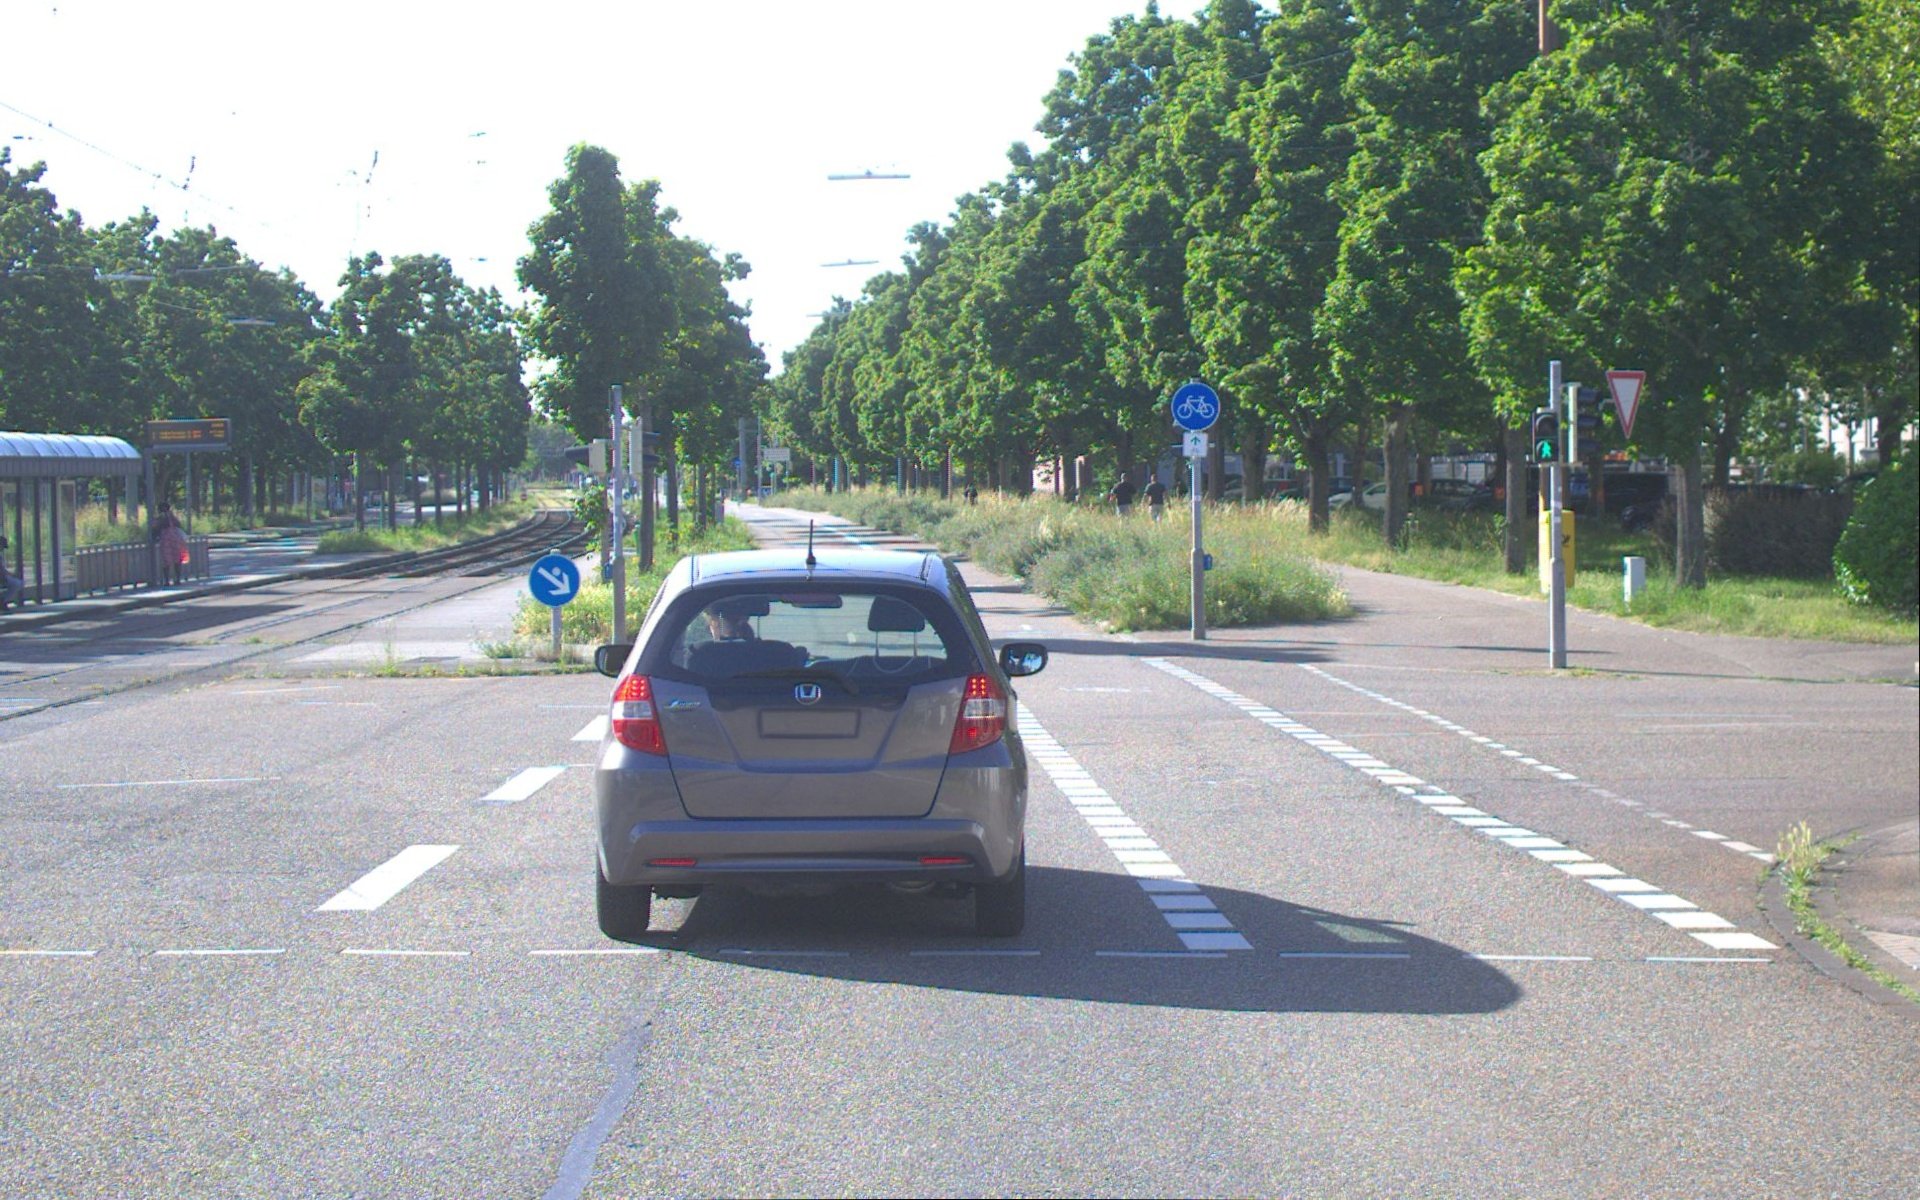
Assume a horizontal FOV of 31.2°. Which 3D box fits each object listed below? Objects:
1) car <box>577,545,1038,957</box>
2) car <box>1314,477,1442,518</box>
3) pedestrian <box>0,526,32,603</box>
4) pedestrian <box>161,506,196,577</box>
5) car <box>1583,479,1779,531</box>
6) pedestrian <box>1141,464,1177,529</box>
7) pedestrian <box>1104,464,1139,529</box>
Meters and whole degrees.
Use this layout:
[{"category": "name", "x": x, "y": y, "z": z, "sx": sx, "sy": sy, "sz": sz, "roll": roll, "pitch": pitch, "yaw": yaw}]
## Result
[{"category": "car", "x": -0.590, "y": 0.536, "z": 14.548, "sx": 1.701, "sy": 1.518, "sz": 3.710, "roll": 0, "pitch": 1, "yaw": -1}, {"category": "car", "x": 16.493, "y": -4.051, "z": 135.726, "sx": 4.630, "sy": 1.550, "sz": 2.001, "roll": -1, "pitch": 2, "yaw": -7}, {"category": "pedestrian", "x": -15.667, "y": -0.585, "z": 56.612, "sx": 0.563, "sy": 1.252, "sz": 0.581, "roll": -3, "pitch": 1, "yaw": -2}, {"category": "pedestrian", "x": -16.177, "y": -1.214, "z": 71.166, "sx": 0.544, "sy": 1.442, "sz": 0.559, "roll": -1, "pitch": 1, "yaw": -1}, {"category": "car", "x": 19.262, "y": -2.542, "z": 91.935, "sx": 4.679, "sy": 1.322, "sz": 2.088, "roll": 0, "pitch": 2, "yaw": 34}, {"category": "pedestrian", "x": 5.760, "y": -2.994, "z": 99.536, "sx": 0.882, "sy": 1.877, "sz": 0.875, "roll": -1, "pitch": 2, "yaw": -4}, {"category": "pedestrian", "x": 4.668, "y": -2.999, "z": 99.504, "sx": 0.882, "sy": 1.877, "sz": 0.875, "roll": -1, "pitch": 2, "yaw": -4}]
